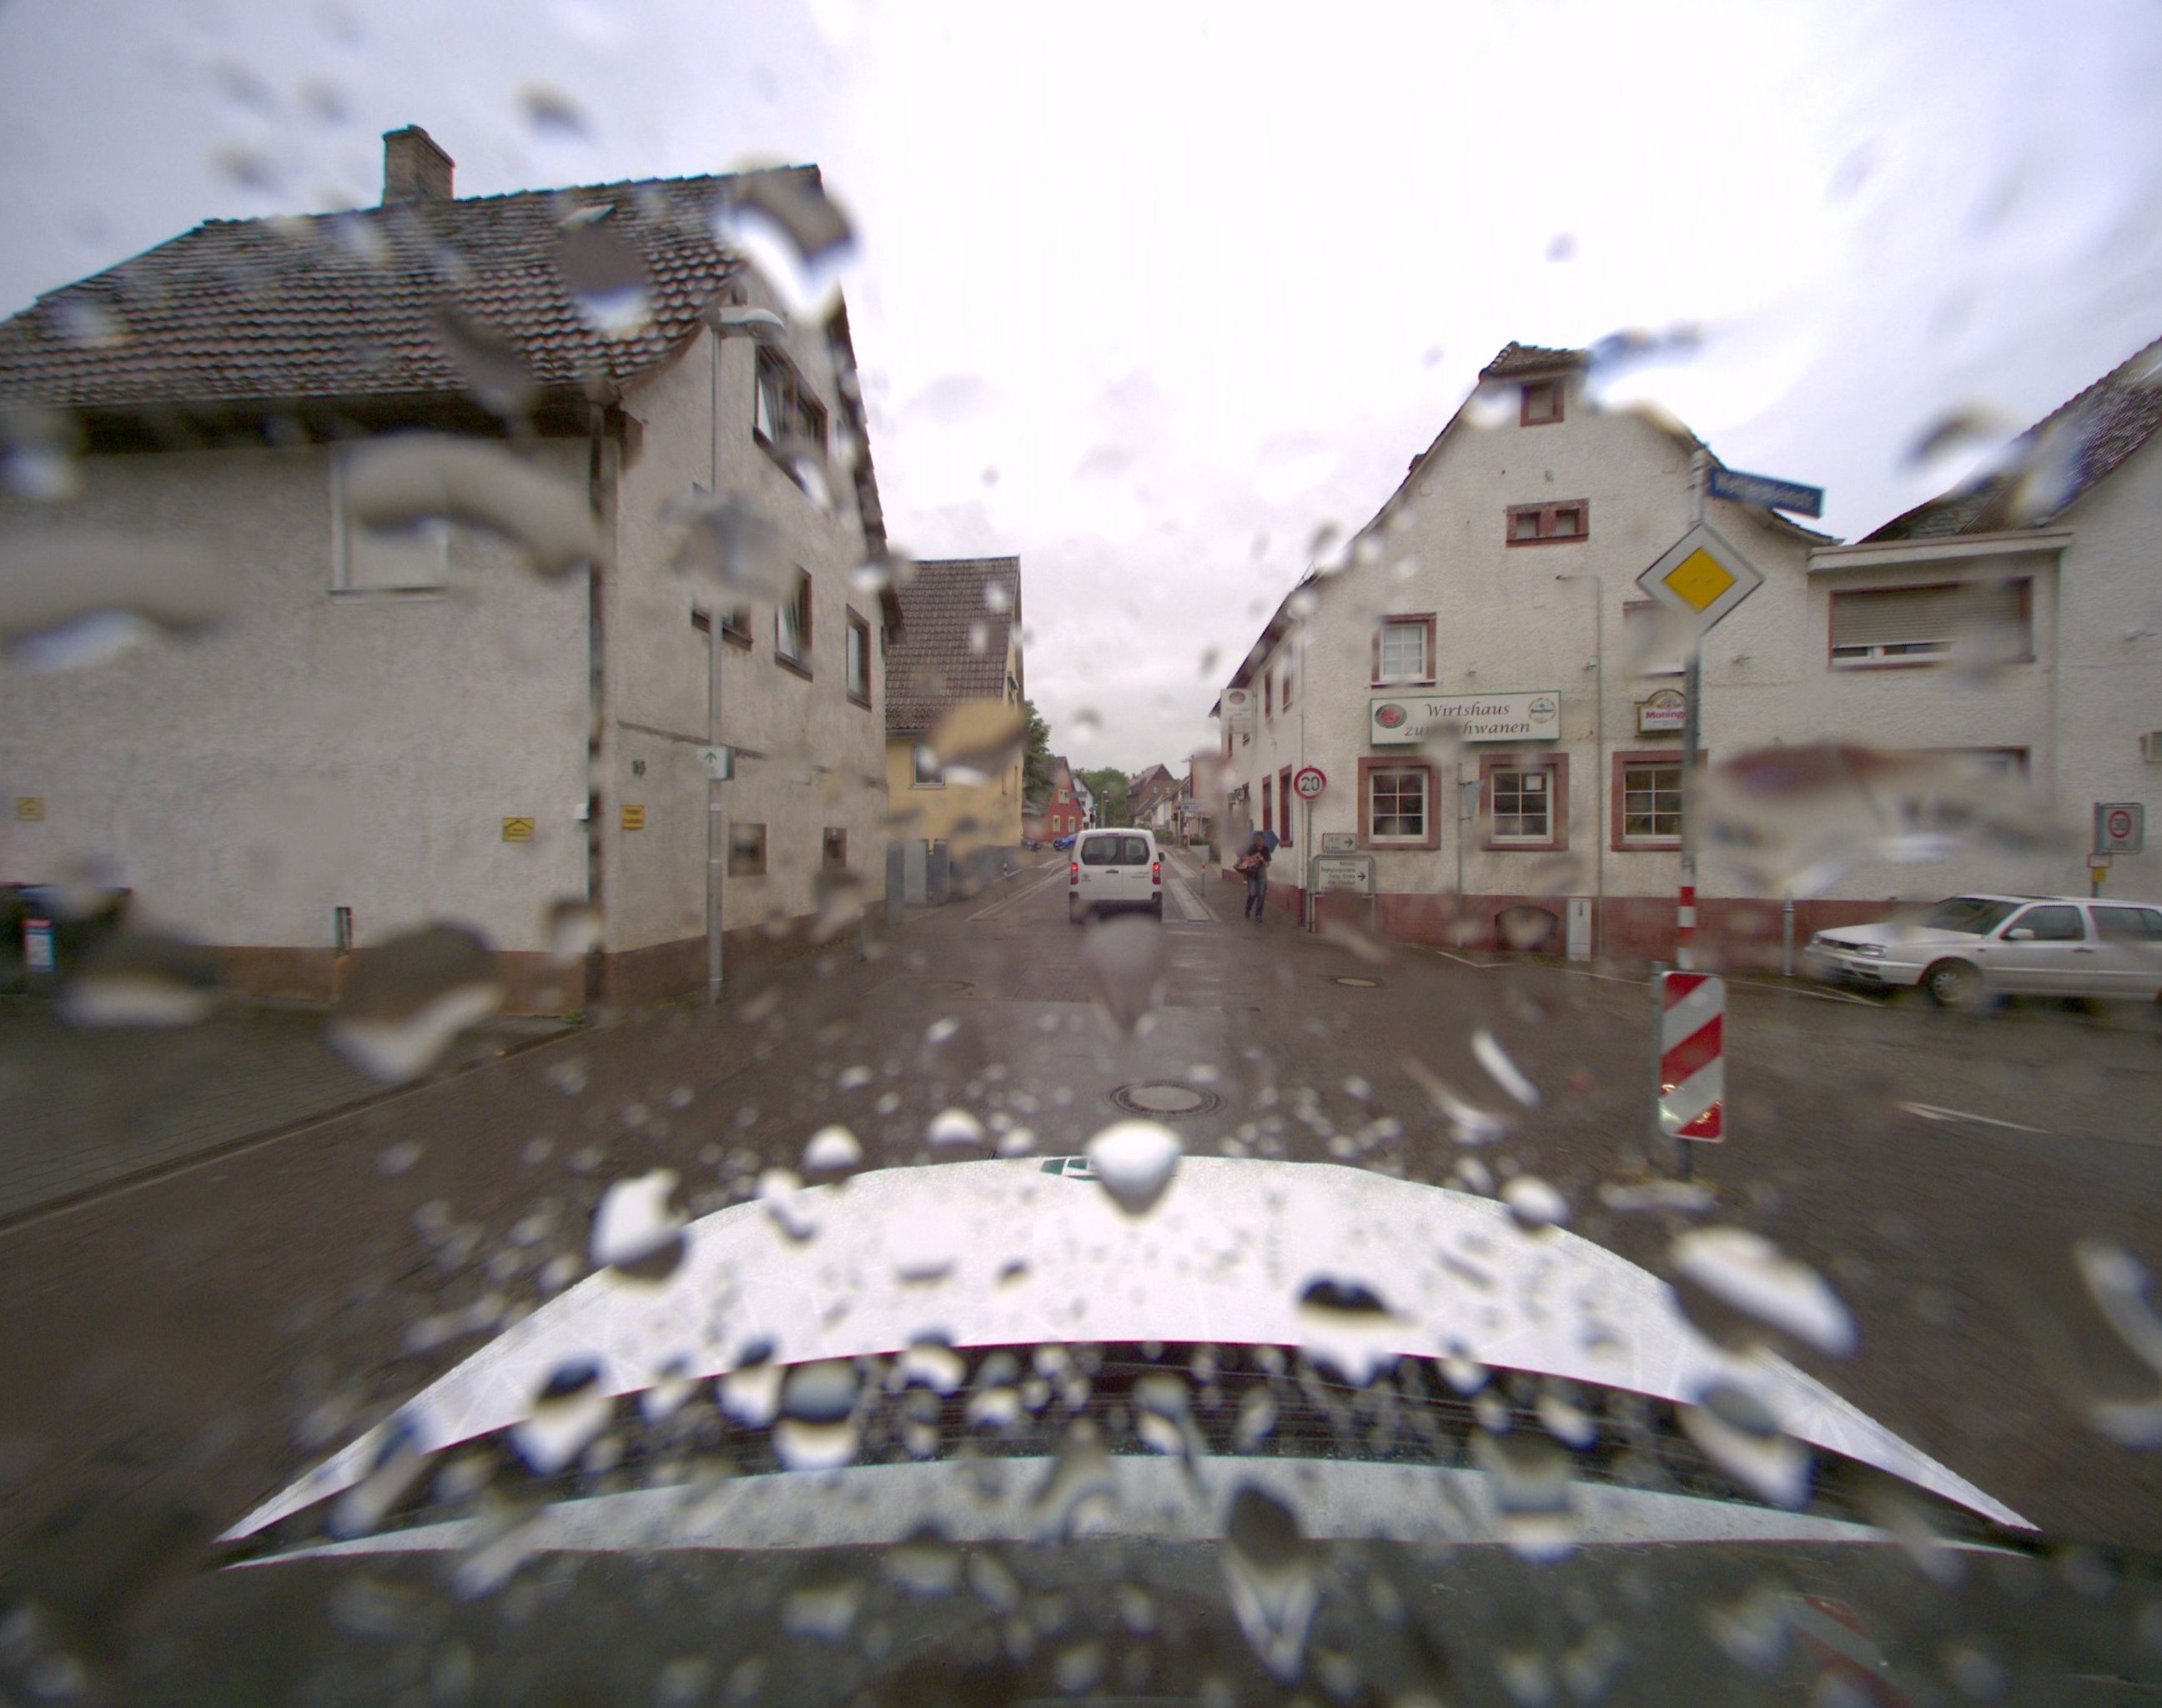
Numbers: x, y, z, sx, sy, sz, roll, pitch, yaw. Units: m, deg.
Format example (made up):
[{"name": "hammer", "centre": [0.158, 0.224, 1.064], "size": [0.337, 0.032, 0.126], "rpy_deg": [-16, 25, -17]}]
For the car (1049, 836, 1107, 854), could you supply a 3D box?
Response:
[{"name": "car", "centre": [-0.230, -0.713, 63.554], "size": [4.015, 1.373, 2.089], "rpy_deg": [-1, 0, -34]}]

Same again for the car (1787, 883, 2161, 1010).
[{"name": "car", "centre": [12.218, 1.170, 10.865], "size": [3.924, 1.373, 1.668], "rpy_deg": [1, 1, 11]}]

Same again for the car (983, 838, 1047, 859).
[{"name": "car", "centre": [-4.885, -0.417, 60.391], "size": [4.267, 1.477, 1.858], "rpy_deg": [0, 1, 16]}]

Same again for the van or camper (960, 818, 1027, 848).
[{"name": "van or camper", "centre": [-7.167, -1.724, 66.521], "size": [5.093, 2.435, 2.225], "rpy_deg": [1, 2, 29]}]

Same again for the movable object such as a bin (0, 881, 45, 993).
[{"name": "movable object such as a bin", "centre": [-9.610, 0.726, 7.114], "size": [0.447, 0.950, 0.509], "rpy_deg": [2, 1, 4]}]

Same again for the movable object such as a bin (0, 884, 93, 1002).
[{"name": "movable object such as a bin", "centre": [-9.144, 0.756, 7.092], "size": [0.447, 0.950, 0.509], "rpy_deg": [2, 1, 4]}]

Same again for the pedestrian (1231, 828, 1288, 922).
[{"name": "pedestrian", "centre": [3.395, 0.374, 15.549], "size": [0.989, 1.735, 0.813], "rpy_deg": [0, 3, 7]}]

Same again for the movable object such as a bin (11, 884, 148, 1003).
[{"name": "movable object such as a bin", "centre": [-8.651, 0.753, 7.054], "size": [0.486, 0.950, 0.555], "rpy_deg": [2, 1, 4]}]

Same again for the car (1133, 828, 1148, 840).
[{"name": "car", "centre": [8.379, -2.807, 115.480], "size": [1.986, 1.747, 4.002], "rpy_deg": [-1, 1, 2]}]

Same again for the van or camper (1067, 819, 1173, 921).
[{"name": "van or camper", "centre": [0.769, 0.274, 16.970], "size": [1.936, 1.851, 4.001], "rpy_deg": [-1, 1, 1]}]

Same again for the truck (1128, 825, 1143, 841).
[{"name": "truck", "centre": [8.623, -3.260, 129.209], "size": [2.342, 2.425, 4.952], "rpy_deg": [-1, 1, 2]}]
